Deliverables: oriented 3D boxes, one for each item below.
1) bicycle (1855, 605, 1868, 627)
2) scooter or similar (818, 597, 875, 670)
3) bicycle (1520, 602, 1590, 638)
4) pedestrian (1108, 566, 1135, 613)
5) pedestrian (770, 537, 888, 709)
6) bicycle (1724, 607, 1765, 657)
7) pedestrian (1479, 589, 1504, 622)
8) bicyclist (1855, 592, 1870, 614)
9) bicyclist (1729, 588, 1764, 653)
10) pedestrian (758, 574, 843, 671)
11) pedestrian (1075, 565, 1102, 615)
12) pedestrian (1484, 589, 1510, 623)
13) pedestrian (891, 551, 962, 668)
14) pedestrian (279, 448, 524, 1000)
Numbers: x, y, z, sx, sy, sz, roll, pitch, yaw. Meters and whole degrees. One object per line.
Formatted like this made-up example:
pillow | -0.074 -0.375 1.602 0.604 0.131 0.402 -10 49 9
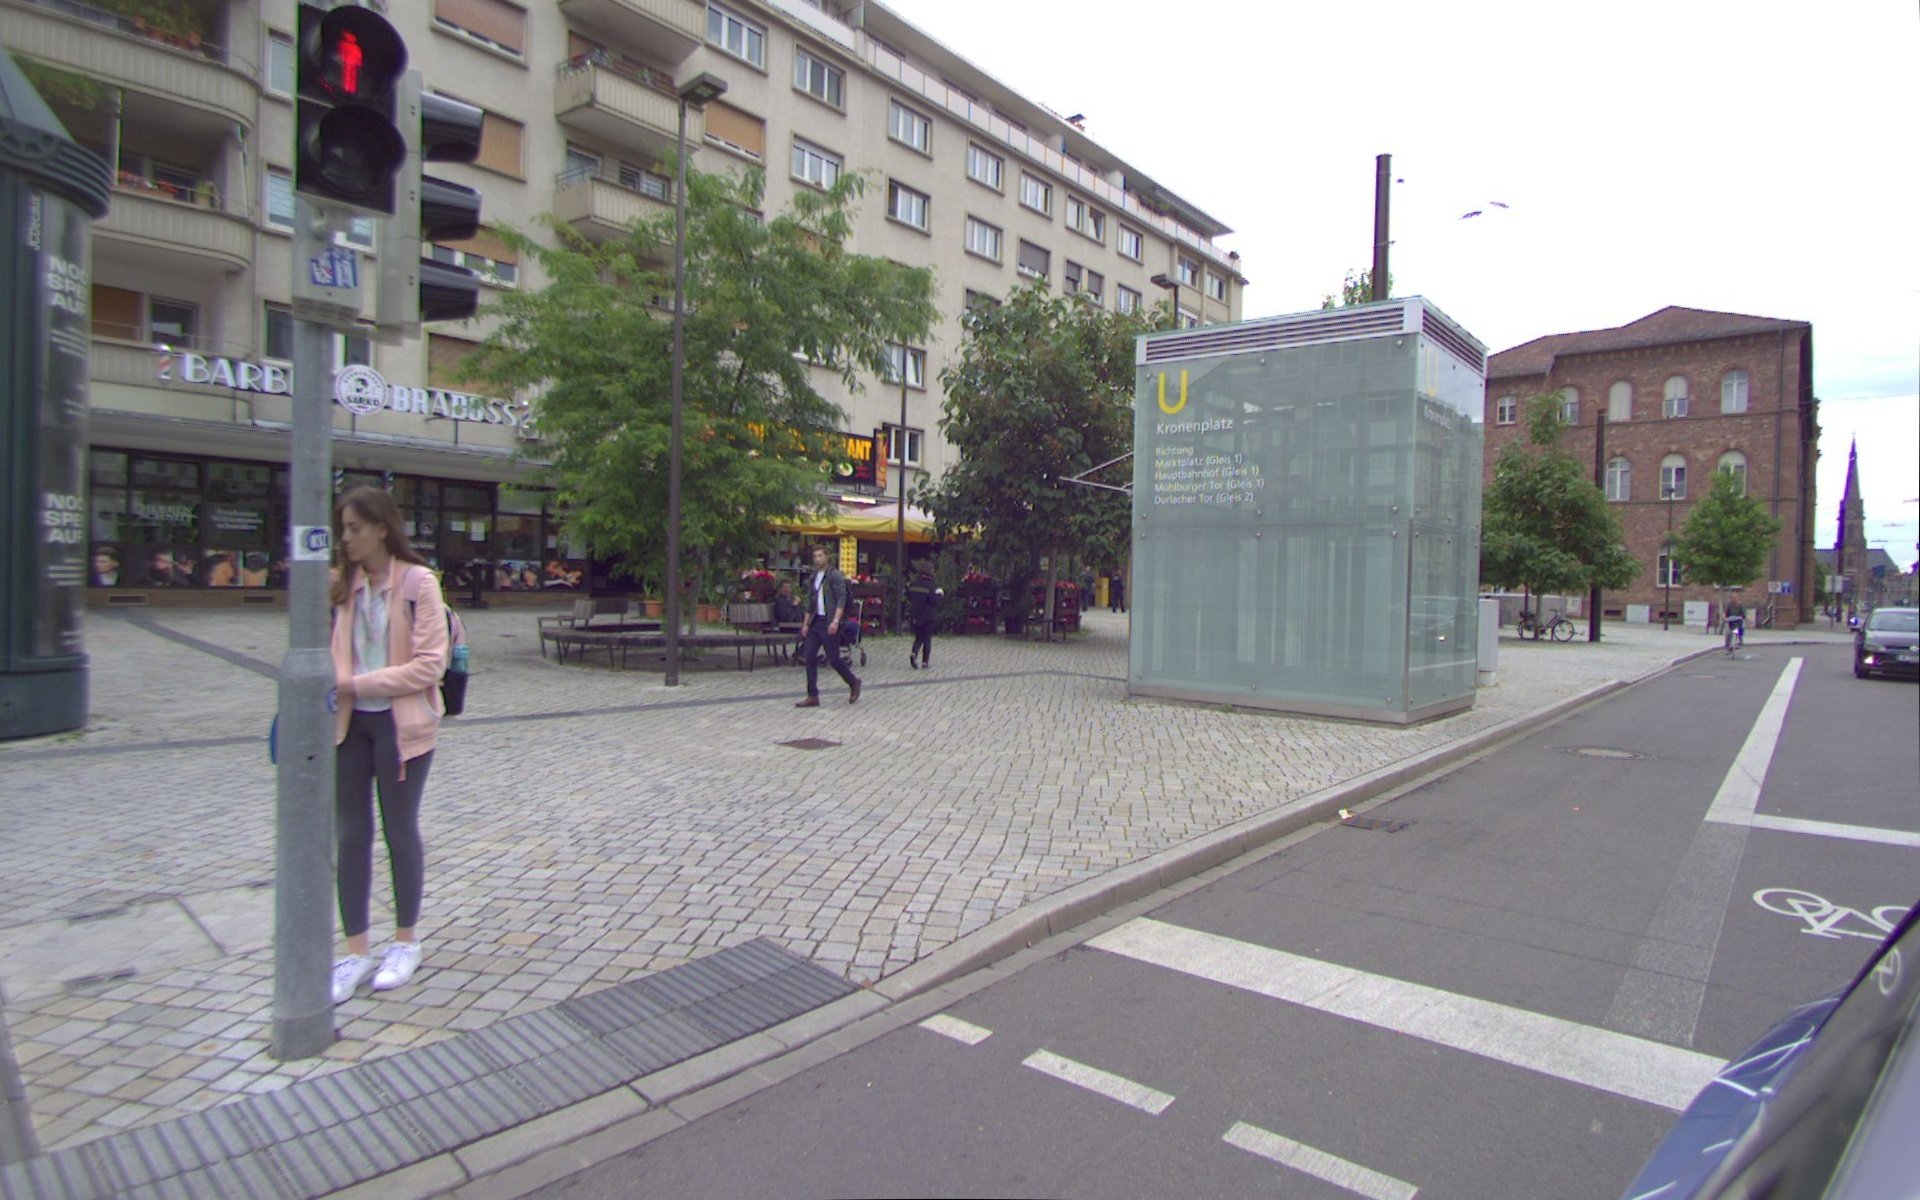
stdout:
bicycle | 50.145 0.859 56.316 0.470 1.173 2.239 2 1 40
scooter or similar | -1.723 0.476 15.161 0.710 0.960 1.596 2 2 -11
bicycle | 19.644 0.637 33.440 0.633 1.137 1.919 1 0 -37
pedestrian | 6.314 -0.426 39.631 0.703 1.773 0.777 3 2 -10
pedestrian | -1.479 0.231 11.490 0.713 1.824 1.062 5 3 40
bicycle | 21.060 0.846 27.146 1.908 1.276 0.524 0 1 -42
pedestrian | 24.571 0.256 46.795 0.768 1.473 0.766 3 2 12
bicyclist | 50.235 0.149 56.323 0.585 1.186 0.653 2 1 41
bicyclist | 21.084 0.527 27.134 0.780 1.705 0.570 1 1 -41
pedestrian | -2.319 0.301 14.710 0.720 1.313 1.046 1 2 -43
pedestrian | 4.934 -0.395 38.981 0.835 1.909 0.777 1 0 -10
pedestrian | 24.379 0.262 45.944 0.768 1.473 0.766 3 2 12
pedestrian | -0.505 0.125 15.389 0.624 1.705 0.858 3 2 37
pedestrian | -2.011 0.397 3.666 0.520 1.784 0.594 0 0 34
